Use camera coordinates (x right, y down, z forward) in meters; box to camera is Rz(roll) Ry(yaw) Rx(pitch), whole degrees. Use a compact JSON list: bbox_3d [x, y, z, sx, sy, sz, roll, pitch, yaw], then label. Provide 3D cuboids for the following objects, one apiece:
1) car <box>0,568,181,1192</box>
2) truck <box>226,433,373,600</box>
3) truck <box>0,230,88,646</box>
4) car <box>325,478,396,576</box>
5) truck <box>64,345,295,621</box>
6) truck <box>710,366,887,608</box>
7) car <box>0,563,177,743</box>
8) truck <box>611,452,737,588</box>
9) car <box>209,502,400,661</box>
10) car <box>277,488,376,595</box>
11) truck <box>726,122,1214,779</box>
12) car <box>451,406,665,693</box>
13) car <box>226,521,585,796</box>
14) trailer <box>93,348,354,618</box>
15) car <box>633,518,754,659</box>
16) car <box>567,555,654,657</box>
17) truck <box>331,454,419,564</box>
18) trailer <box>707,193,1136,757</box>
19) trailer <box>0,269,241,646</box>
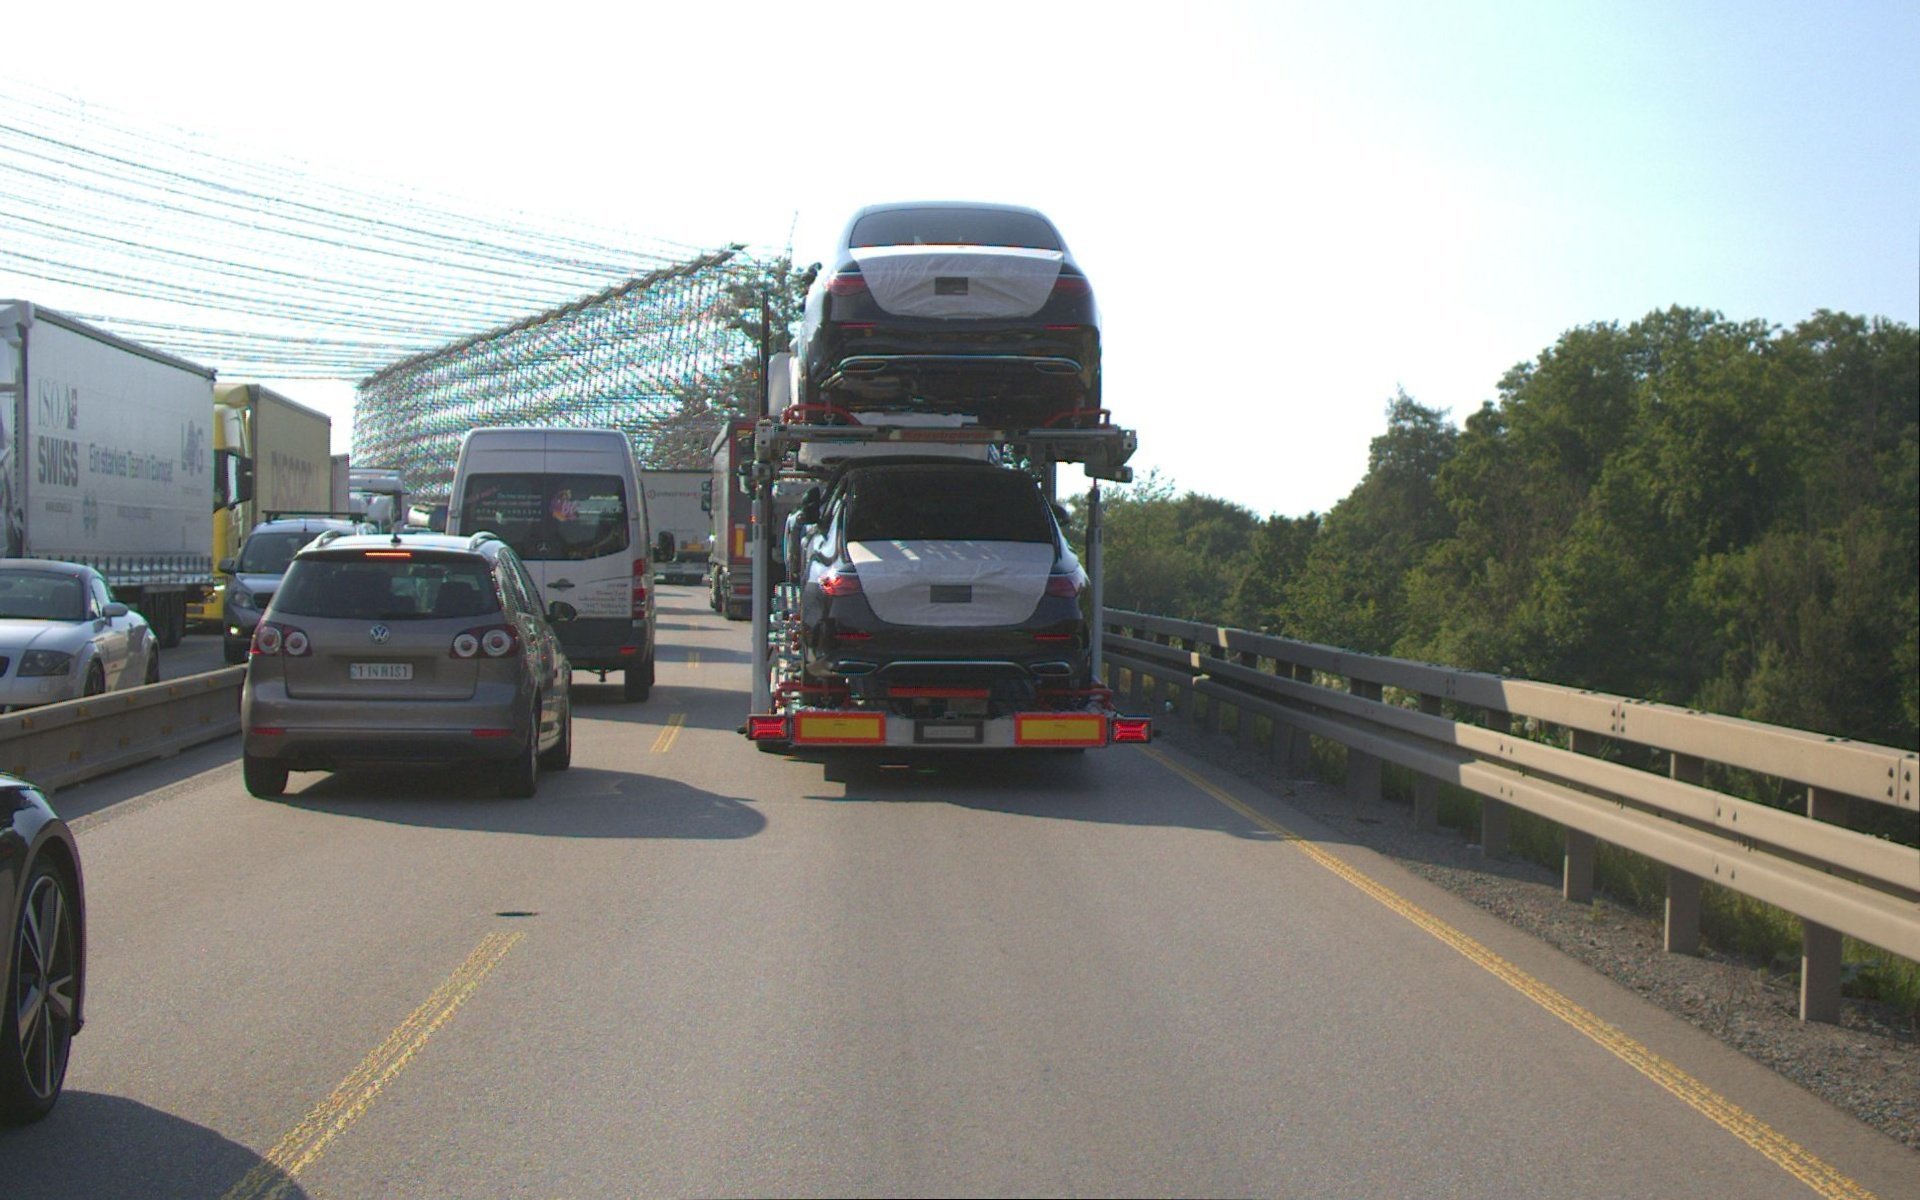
[{"bbox_3d":[-3.249,0.671,7.362,1.940,1.475,5.222,-1,0,0],"label":"car"},{"bbox_3d":[-14.723,-1.780,77.068,2.358,3.519,7.698,0,0,-4],"label":"truck"},{"bbox_3d":[-11.183,-1.655,36.696,2.443,4.257,6.322,0,-1,-3],"label":"truck"},{"bbox_3d":[-17.398,-2.117,99.966,1.668,2.756,4.961,0,1,-6],"label":"car"},{"bbox_3d":[-12.617,-1.796,56.004,2.893,4.257,5.772,0,0,-5],"label":"truck"},{"bbox_3d":[-3.558,-2.315,72.509,3.227,4.661,11.697,0,1,-5],"label":"truck"},{"bbox_3d":[-7.180,0.375,26.045,1.711,1.248,4.051,-1,0,-2],"label":"car"},{"bbox_3d":[-10.490,-2.902,125.001,3.647,4.661,11.698,0,1,-9],"label":"truck"},{"bbox_3d":[-8.329,-0.275,44.040,1.832,1.910,4.865,0,1,-4],"label":"car"},{"bbox_3d":[-16.976,-1.532,92.324,2.128,2.741,5.505,0,0,-5],"label":"car"},{"bbox_3d":[-0.124,-0.890,23.734,2.869,3.966,5.772,0,0,-5],"label":"truck"},{"bbox_3d":[-3.930,-0.461,34.123,1.979,2.675,4.147,0,0,-5],"label":"car"},{"bbox_3d":[-3.421,0.347,21.881,1.700,1.581,4.147,0,0,-1],"label":"car"},{"bbox_3d":[-13.192,-1.862,62.883,2.893,4.379,14.382,0,0,-5],"label":"trailer"},{"bbox_3d":[-3.923,-0.151,50.200,1.668,1.978,3.819,0,0,-6],"label":"car"},{"bbox_3d":[-6.999,0.128,68.851,1.668,1.978,3.819,0,0,-6],"label":"car"},{"bbox_3d":[-22.092,-3.432,130.181,2.640,3.981,9.031,0,1,-6],"label":"truck"},{"bbox_3d":[-0.829,-0.853,32.006,2.874,3.980,15.281,0,0,-5],"label":"trailer"},{"bbox_3d":[-11.620,-1.545,45.077,2.453,4.251,12.146,0,-1,-3],"label":"trailer"}]
